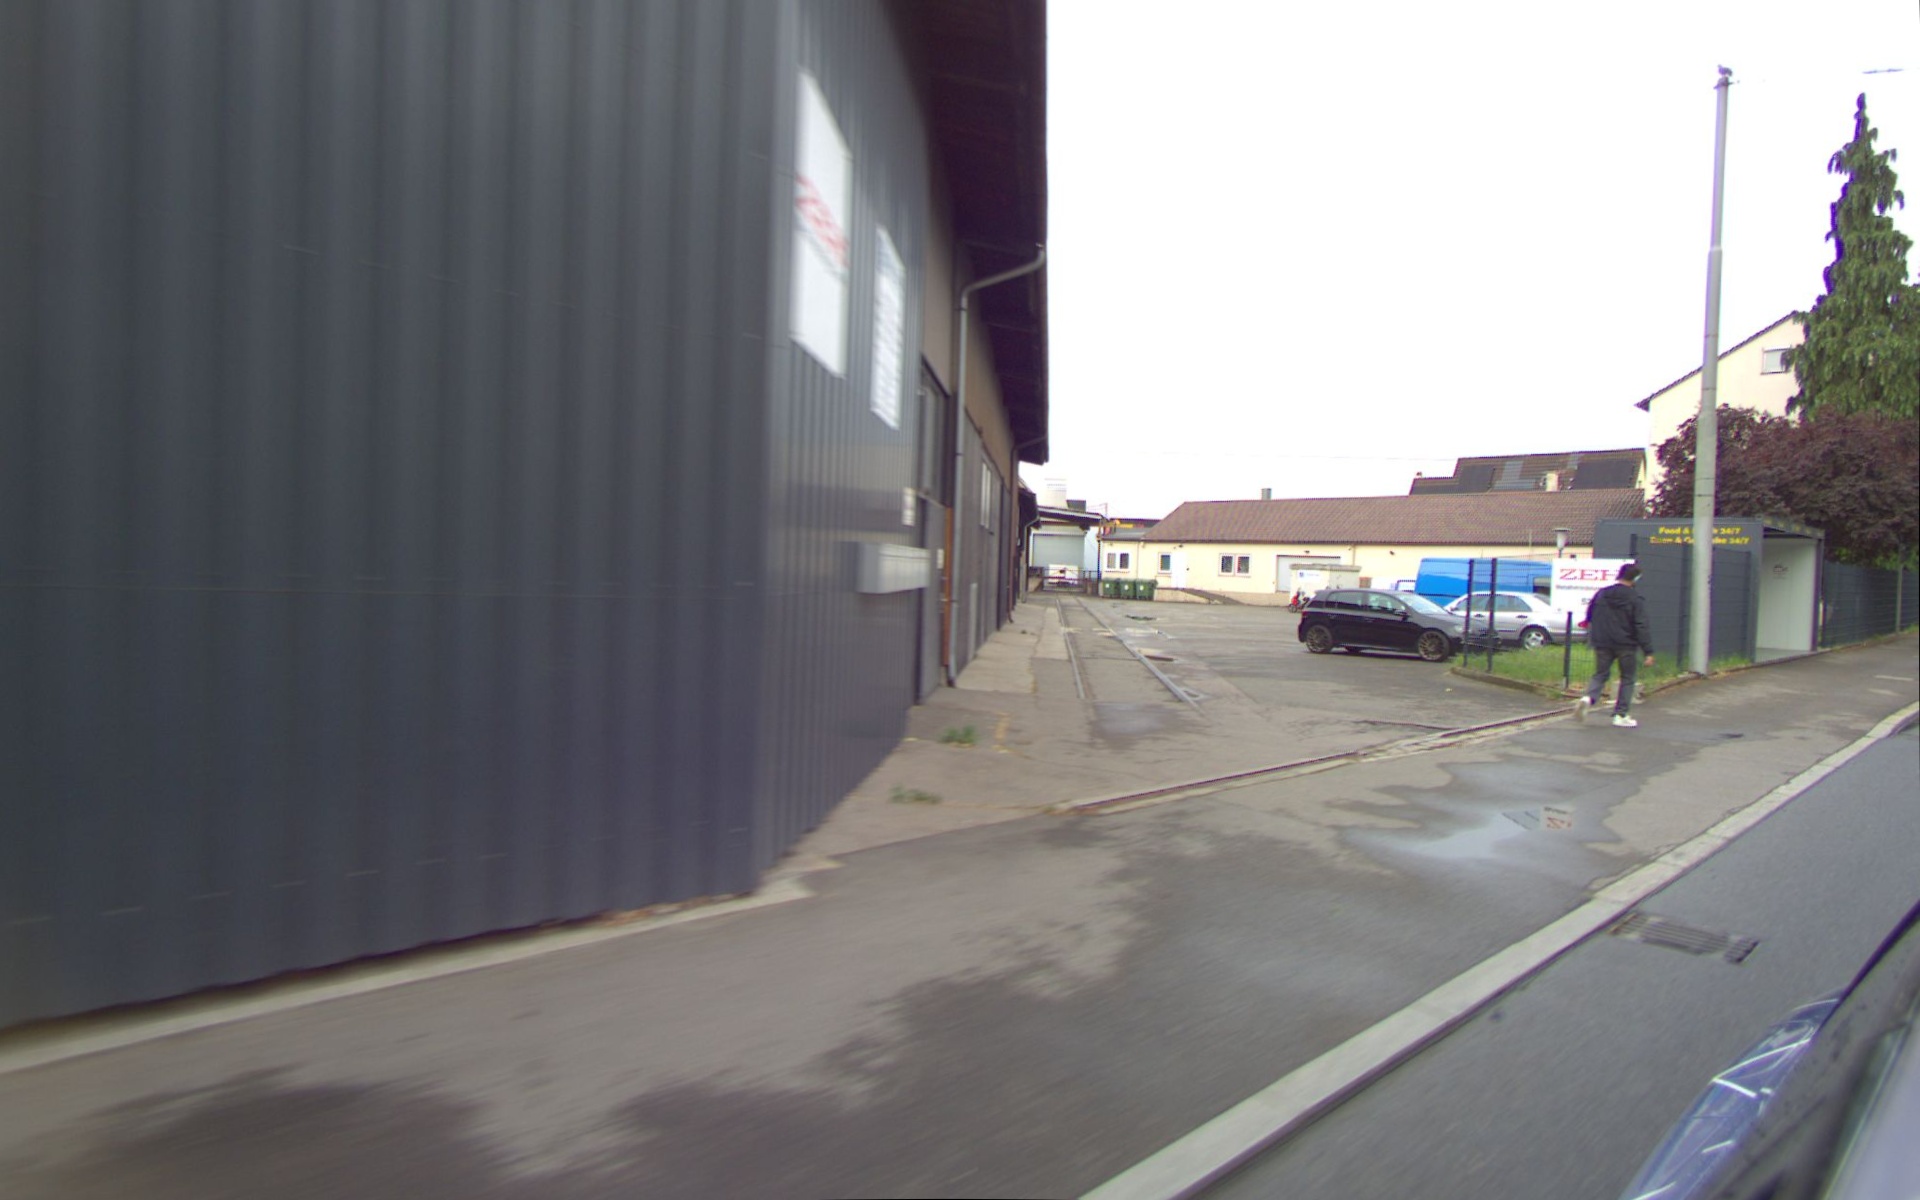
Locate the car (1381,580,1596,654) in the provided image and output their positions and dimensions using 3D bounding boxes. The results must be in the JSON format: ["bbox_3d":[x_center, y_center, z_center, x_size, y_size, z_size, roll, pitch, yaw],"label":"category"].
[{"bbox_3d":[12.973,0.344,25.059,1.764,1.549,4.386,-2,3,-42],"label":"car"}]

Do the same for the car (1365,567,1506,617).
[{"bbox_3d":[18.531,-0.379,39.568,4.599,1.714,1.968,3,4,45],"label":"car"}]

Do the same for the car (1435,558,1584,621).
[{"bbox_3d":[21.846,-0.508,40.419,1.966,2.297,4.830,-2,4,-41],"label":"car"}]

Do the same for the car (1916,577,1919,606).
[{"bbox_3d":[58.820,-0.501,59.290,1.760,1.746,3.956,-1,2,-40],"label":"car"}]

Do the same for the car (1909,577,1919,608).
[{"bbox_3d":[56.847,-0.418,57.551,1.837,1.757,4.074,-2,2,-40],"label":"car"}]

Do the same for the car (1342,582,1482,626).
[{"bbox_3d":[16.579,0.118,37.257,1.771,1.441,4.358,0,2,-45],"label":"car"}]

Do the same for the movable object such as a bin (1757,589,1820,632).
[{"bbox_3d":[27.286,0.313,33.305,1.370,1.336,2.814,1,1,44],"label":"movable object such as a bin"}]

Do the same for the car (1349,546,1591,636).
[{"bbox_3d":[13.842,-0.334,27.824,1.966,2.238,5.576,0,2,-42],"label":"car"}]

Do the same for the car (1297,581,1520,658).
[{"bbox_3d":[9.462,0.344,21.598,1.753,1.441,3.996,-2,2,-39],"label":"car"}]

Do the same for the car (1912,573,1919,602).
[{"bbox_3d":[60.413,-0.747,60.948,1.965,1.790,4.311,-2,2,-40],"label":"car"}]

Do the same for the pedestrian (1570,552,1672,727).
[{"bbox_3d":[6.895,0.370,10.544,0.742,1.725,0.887,0,1,44],"label":"pedestrian"}]
